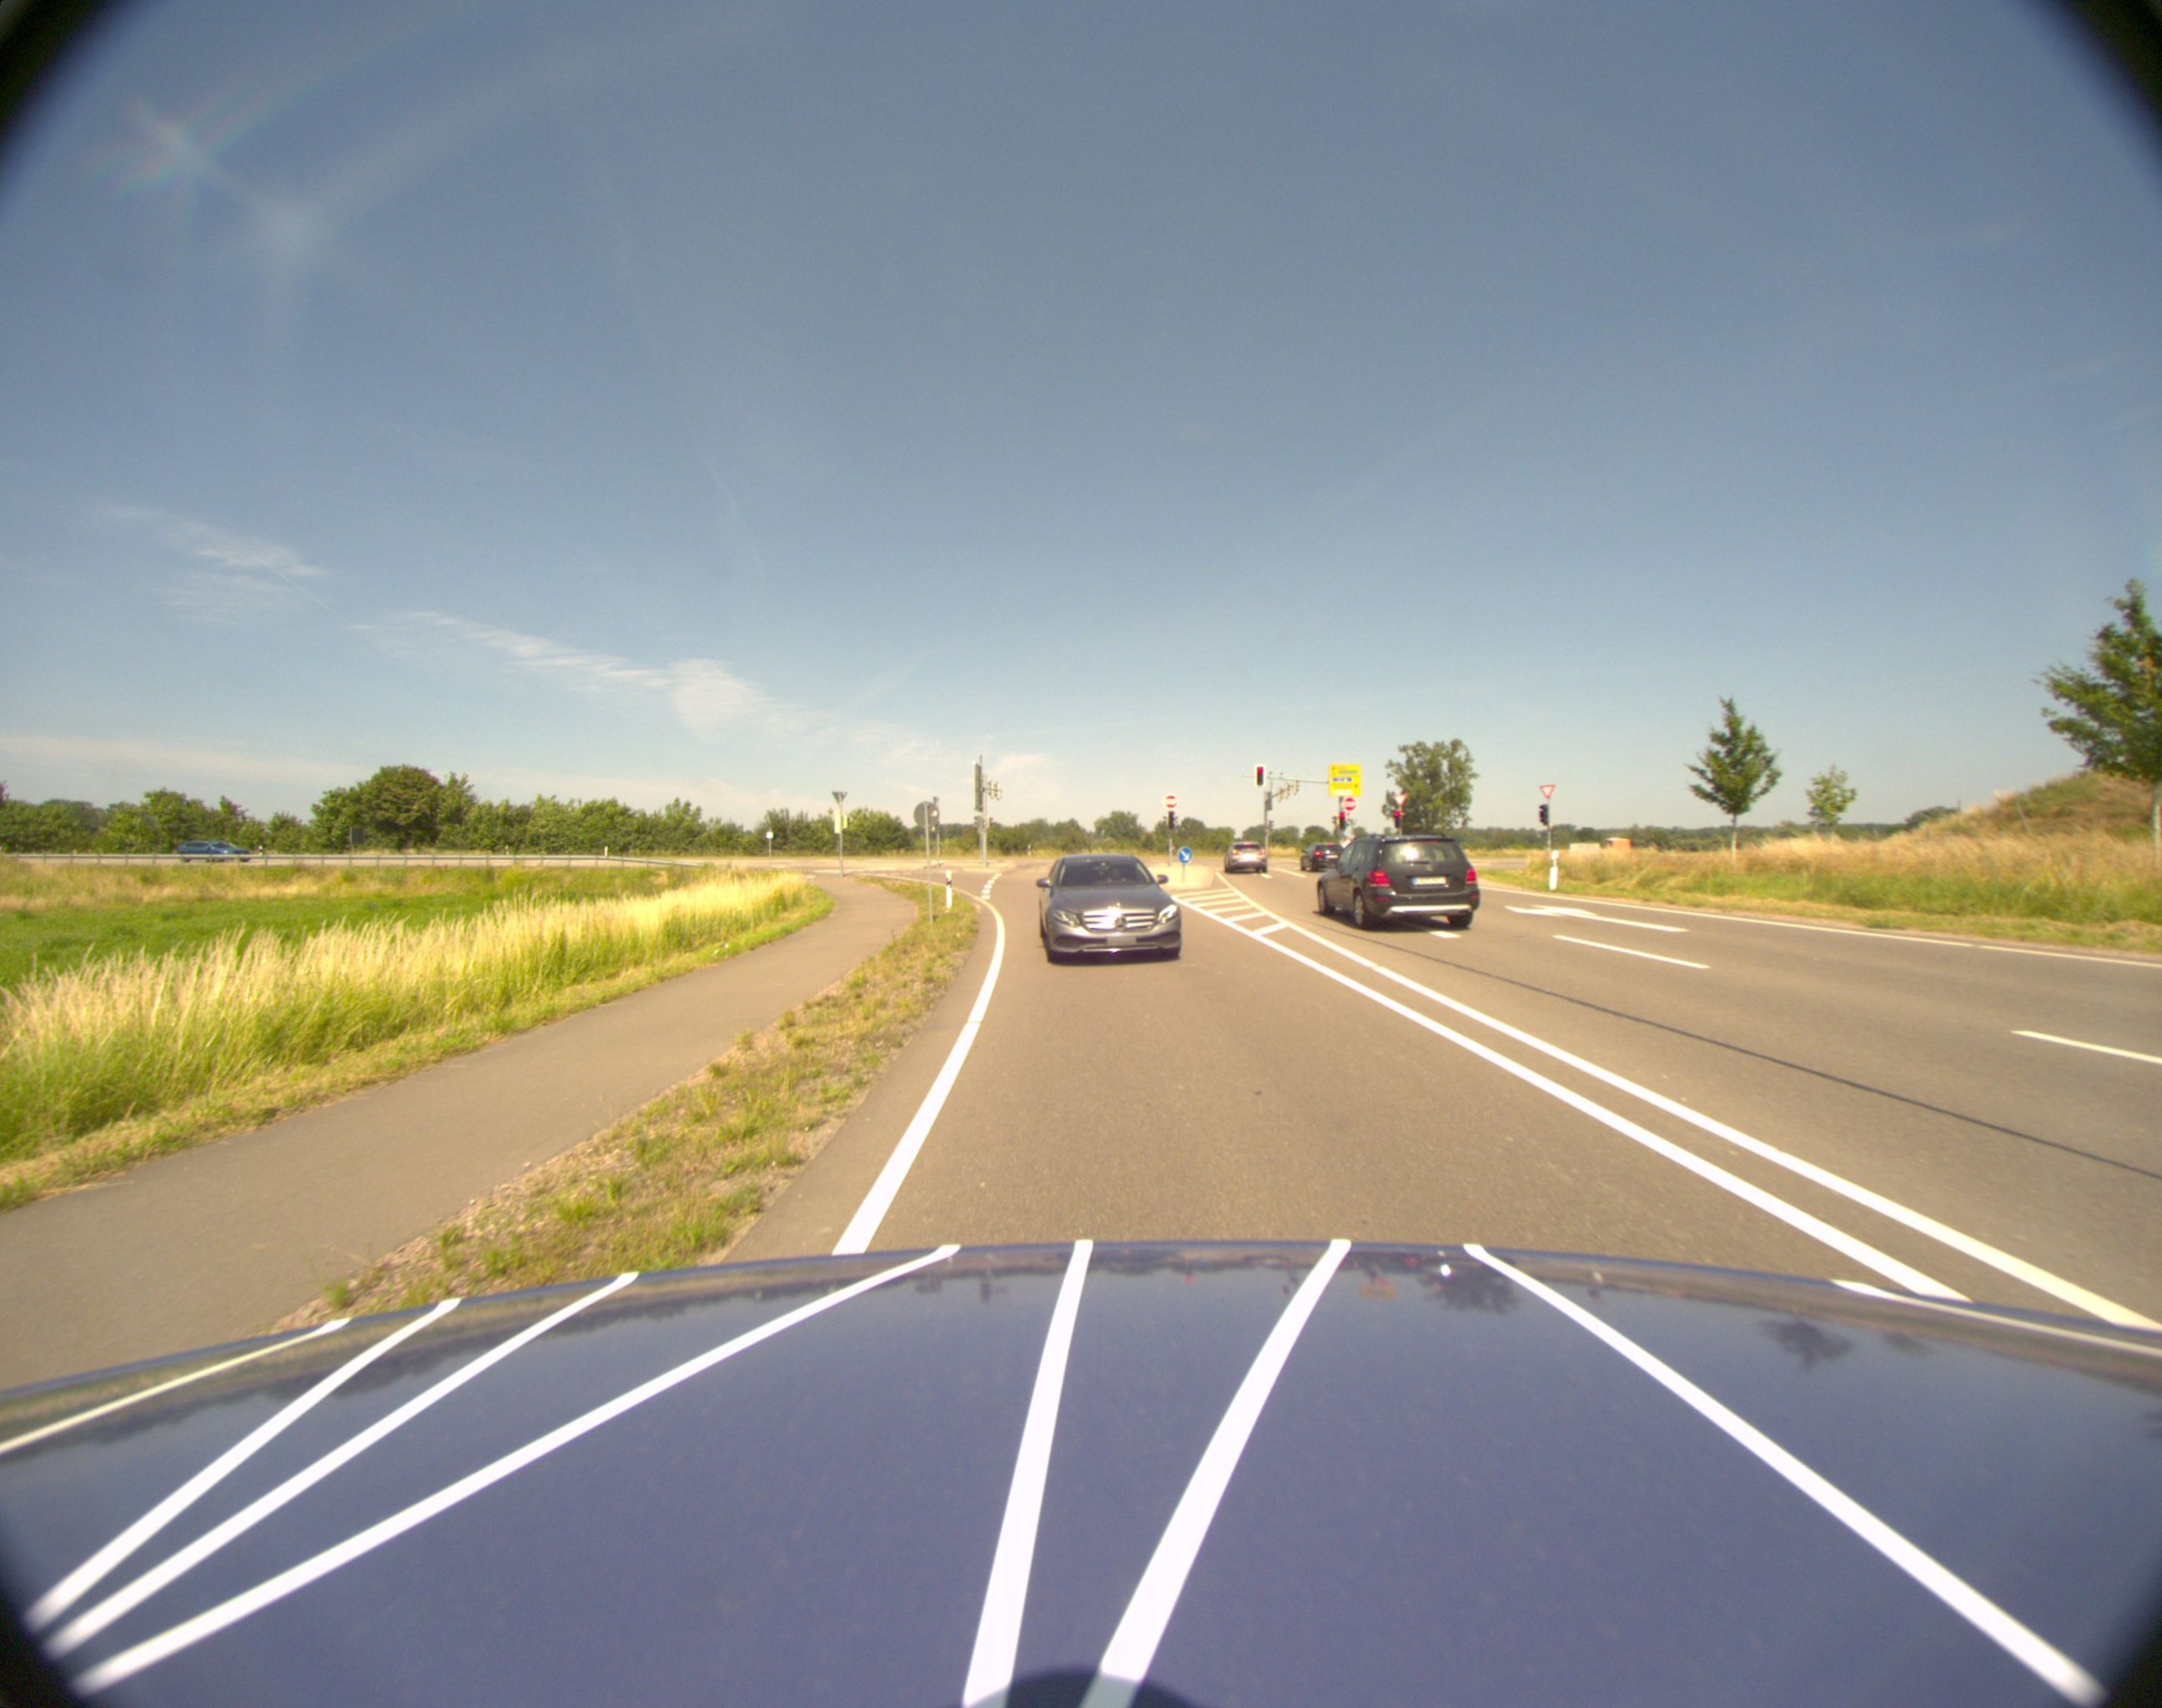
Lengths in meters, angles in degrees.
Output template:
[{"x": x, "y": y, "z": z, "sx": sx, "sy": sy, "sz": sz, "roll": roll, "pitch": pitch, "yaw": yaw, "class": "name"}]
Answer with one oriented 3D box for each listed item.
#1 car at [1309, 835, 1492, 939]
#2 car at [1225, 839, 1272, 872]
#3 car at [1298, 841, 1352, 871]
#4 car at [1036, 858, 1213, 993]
[{"x": 5.741, "y": 0.525, "z": 14.298, "sx": 1.870, "sy": 1.640, "sz": 4.328, "roll": -1, "pitch": 0, "yaw": 4, "class": "car"}, {"x": 8.196, "y": 0.064, "z": 37.495, "sx": 1.869, "sy": 1.535, "sz": 4.554, "roll": -1, "pitch": 0, "yaw": 8, "class": "car"}, {"x": 11.944, "y": 0.100, "z": 37.457, "sx": 1.773, "sy": 1.360, "sz": 4.276, "roll": -1, "pitch": 0, "yaw": 8, "class": "car"}, {"x": 0.380, "y": 0.831, "z": 11.003, "sx": 1.894, "sy": 1.439, "sz": 4.524, "roll": -2, "pitch": 0, "yaw": -5, "class": "car"}]
